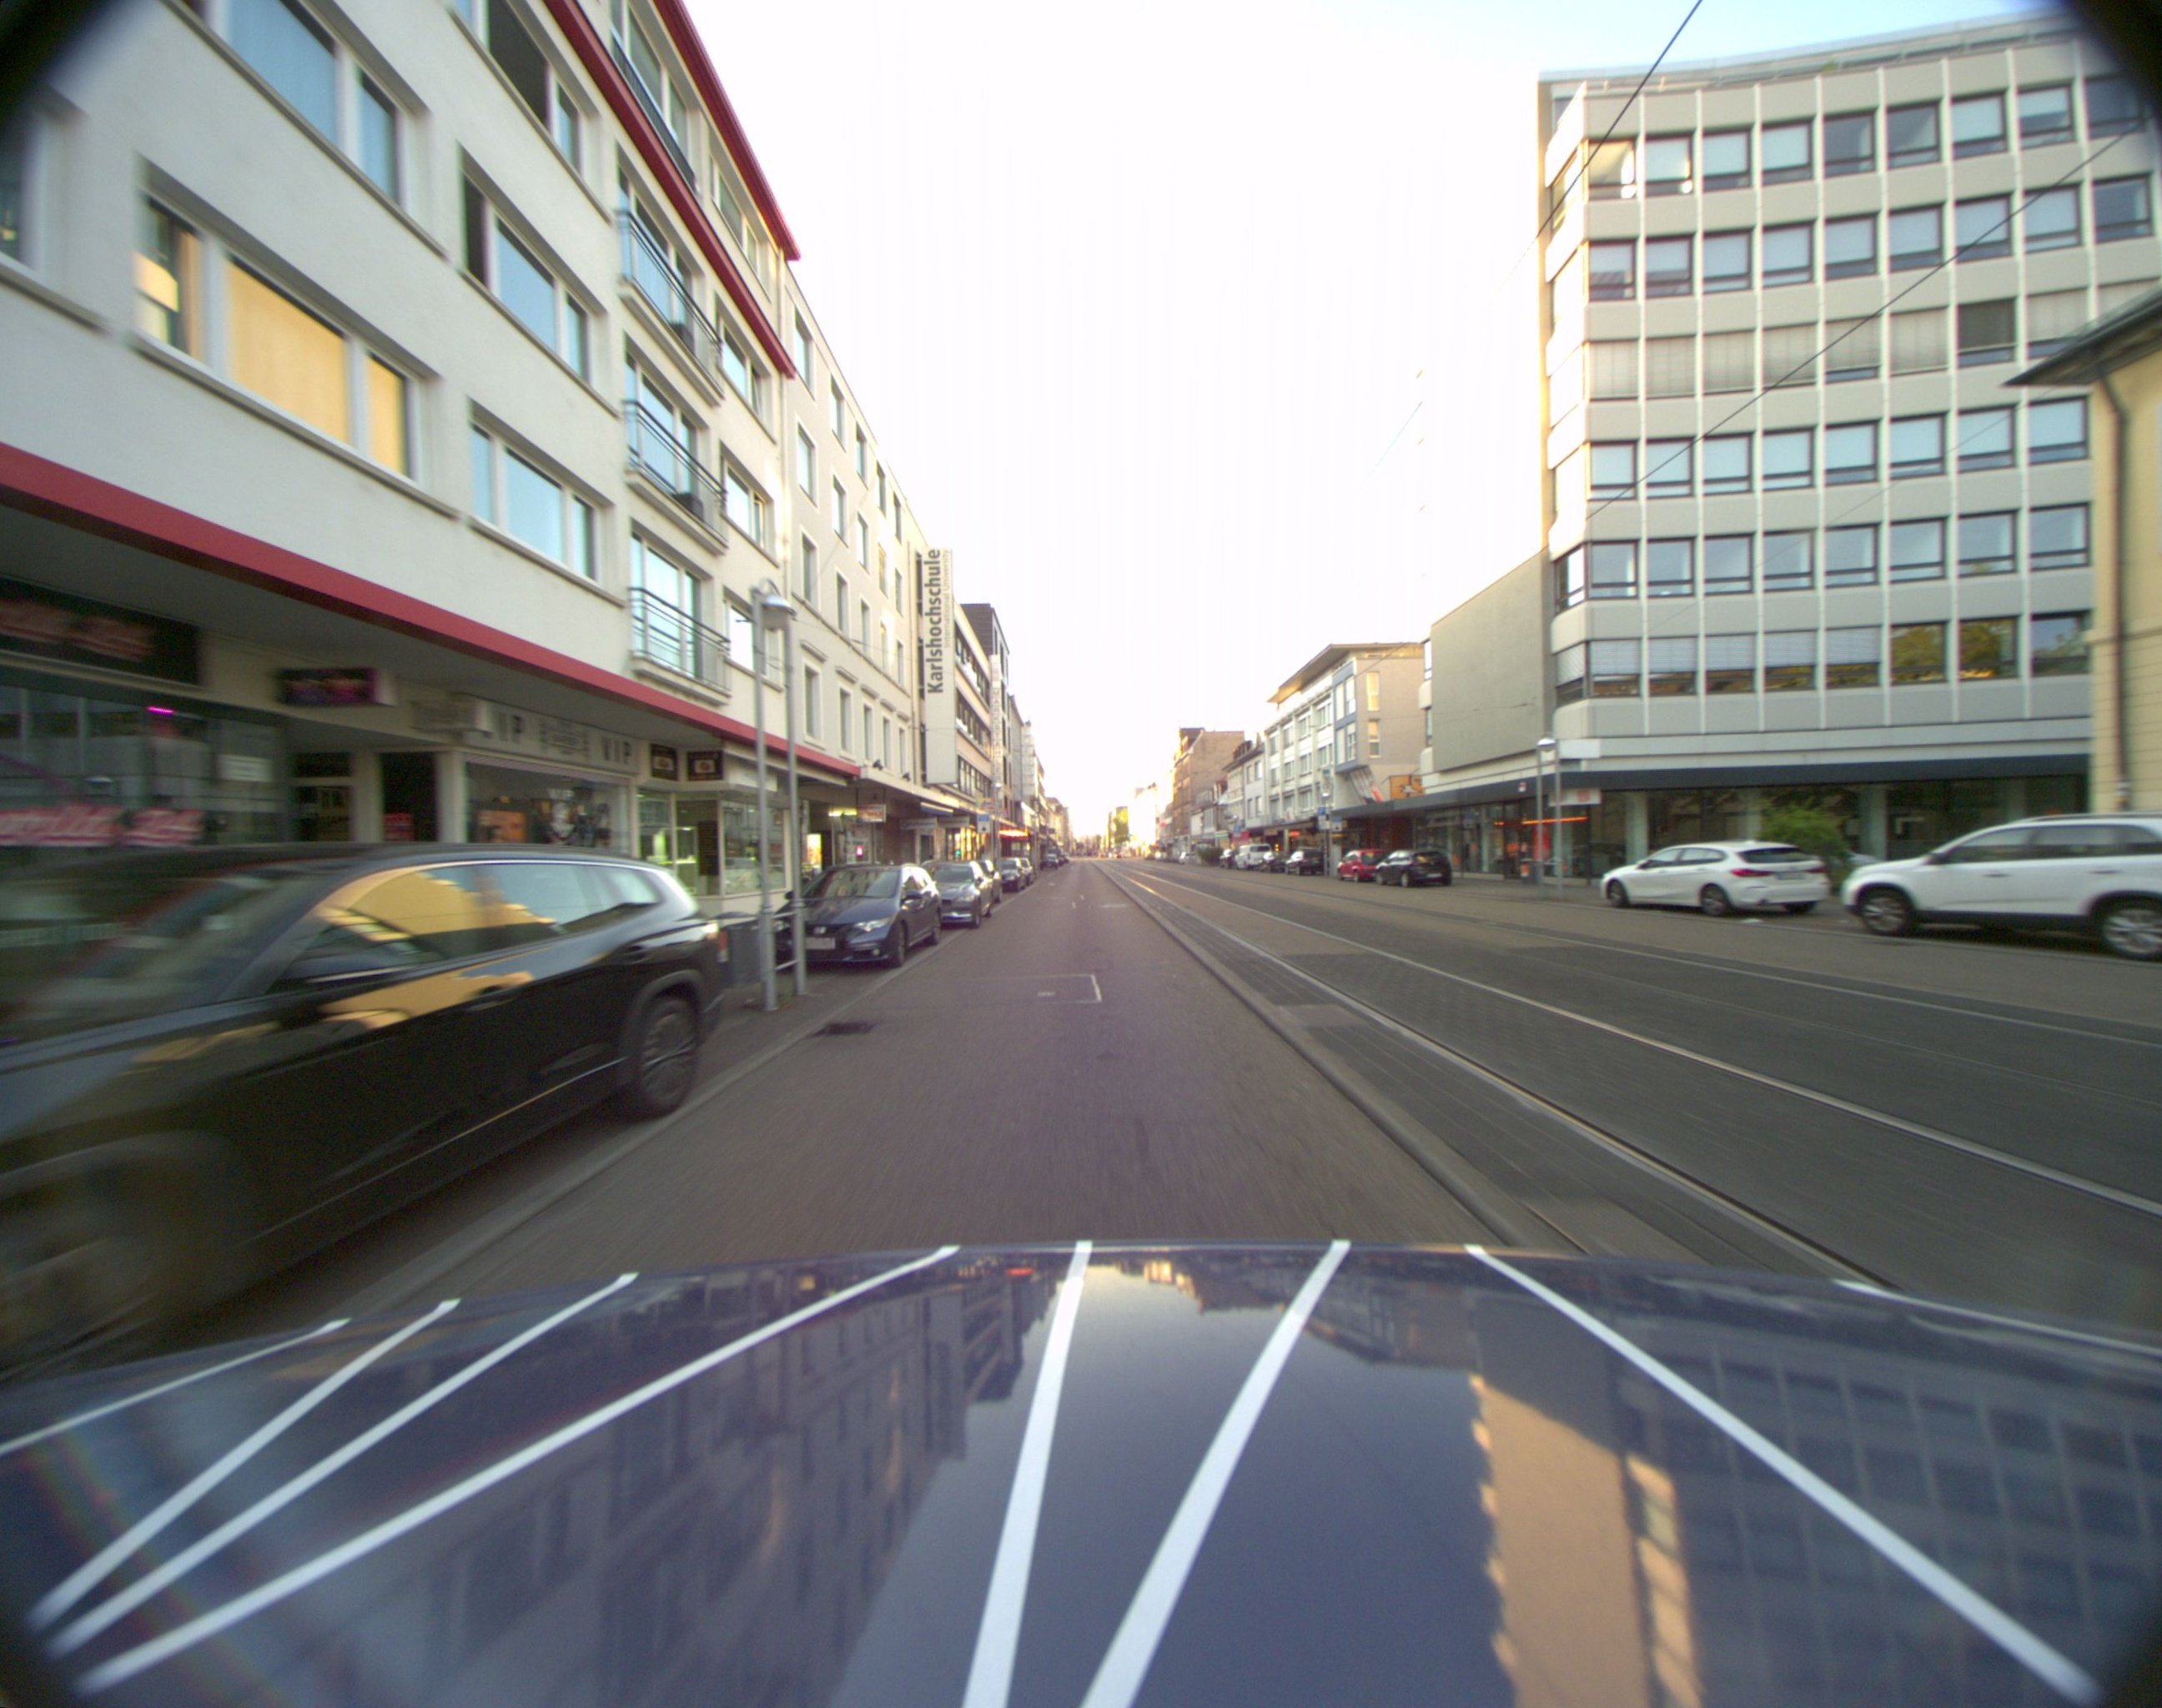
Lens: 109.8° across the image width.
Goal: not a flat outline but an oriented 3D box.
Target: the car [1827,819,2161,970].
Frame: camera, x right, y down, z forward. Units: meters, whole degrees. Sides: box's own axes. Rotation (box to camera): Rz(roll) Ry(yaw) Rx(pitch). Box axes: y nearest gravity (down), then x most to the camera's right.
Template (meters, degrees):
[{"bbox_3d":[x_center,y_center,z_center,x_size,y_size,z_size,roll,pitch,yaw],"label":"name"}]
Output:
[{"bbox_3d":[13.024,0.419,9.854,1.891,1.651,4.760,-3,0,-2],"label":"car"}]

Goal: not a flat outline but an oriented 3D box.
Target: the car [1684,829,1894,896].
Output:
[{"bbox_3d":[19.247,0.210,20.787,3.998,1.544,1.913,-3,1,-2],"label":"car"}]

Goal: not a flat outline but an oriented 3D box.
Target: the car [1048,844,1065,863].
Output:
[{"bbox_3d":[-3.217,-0.092,100.311,2.080,2.434,5.603,-3,1,-1],"label":"car"}]

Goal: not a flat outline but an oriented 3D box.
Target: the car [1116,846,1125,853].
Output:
[{"bbox_3d":[10.123,-1.142,197.114,1.999,1.554,3.999,-3,1,-1],"label":"car"}]

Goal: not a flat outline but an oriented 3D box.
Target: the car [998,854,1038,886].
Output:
[{"bbox_3d":[-3.292,0.801,40.299,1.658,1.454,4.022,-3,1,0],"label":"car"}]

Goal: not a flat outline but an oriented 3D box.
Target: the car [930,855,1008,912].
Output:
[{"bbox_3d":[-3.373,0.832,23.575,1.730,1.473,3.999,-3,1,0],"label":"car"}]

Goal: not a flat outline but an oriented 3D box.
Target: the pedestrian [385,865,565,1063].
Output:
[{"bbox_3d":[-5.195,0.892,6.586,0.735,1.564,0.966,-1,1,0],"label":"pedestrian"}]

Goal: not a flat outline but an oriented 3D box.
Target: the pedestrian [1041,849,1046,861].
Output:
[{"bbox_3d":[-5.607,0.173,114.834,0.743,1.746,0.789,1,1,-3],"label":"pedestrian"}]

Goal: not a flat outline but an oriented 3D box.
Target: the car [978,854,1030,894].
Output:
[{"bbox_3d":[-3.306,0.814,33.341,1.769,1.505,4.071,-3,1,0],"label":"car"}]

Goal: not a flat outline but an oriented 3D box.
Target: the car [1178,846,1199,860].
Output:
[{"bbox_3d":[13.200,-0.102,93.510,1.896,1.547,4.622,-3,1,0],"label":"car"}]

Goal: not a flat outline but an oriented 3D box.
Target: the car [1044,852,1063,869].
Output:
[{"bbox_3d":[-2.810,0.651,78.041,1.744,1.532,3.965,-1,1,0],"label":"car"}]

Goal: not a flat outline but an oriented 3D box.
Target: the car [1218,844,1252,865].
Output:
[{"bbox_3d":[13.469,-0.020,66.644,1.998,1.687,4.587,-3,1,0],"label":"car"}]

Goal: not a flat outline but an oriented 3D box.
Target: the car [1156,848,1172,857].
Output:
[{"bbox_3d":[13.742,-0.249,126.271,1.999,1.412,4.402,-3,1,-2],"label":"car"}]

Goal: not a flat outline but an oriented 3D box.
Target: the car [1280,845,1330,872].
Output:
[{"bbox_3d":[13.097,0.242,44.646,1.794,1.452,4.091,-1,0,1],"label":"car"}]

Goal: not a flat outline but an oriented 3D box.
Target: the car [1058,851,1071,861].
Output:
[{"bbox_3d":[-2.816,0.314,129.771,1.999,1.663,3.875,-3,1,-1],"label":"car"}]

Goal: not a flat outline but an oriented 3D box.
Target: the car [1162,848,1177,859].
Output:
[{"bbox_3d":[13.288,-0.036,114.230,1.846,1.484,3.815,-3,1,0],"label":"car"}]

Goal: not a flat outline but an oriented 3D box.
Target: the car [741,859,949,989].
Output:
[{"bbox_3d":[-3.386,0.909,11.868,1.785,1.513,4.356,-3,0,0],"label":"car"}]

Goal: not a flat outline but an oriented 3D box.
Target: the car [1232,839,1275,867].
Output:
[{"bbox_3d":[13.296,-0.112,58.874,1.969,2.002,5.098,-3,1,-1],"label":"car"}]

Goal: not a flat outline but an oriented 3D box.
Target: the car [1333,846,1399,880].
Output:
[{"bbox_3d":[13.067,0.398,35.032,1.696,1.426,3.592,-2,0,0],"label":"car"}]

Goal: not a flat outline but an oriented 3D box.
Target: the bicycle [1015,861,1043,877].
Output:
[{"bbox_3d":[-3.393,0.987,49.616,1.799,0.967,0.575,1,1,-3],"label":"bicycle"}]

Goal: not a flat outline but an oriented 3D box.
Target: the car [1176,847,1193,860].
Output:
[{"bbox_3d":[13.421,-0.088,98.821,1.660,1.562,3.470,-3,1,1],"label":"car"}]

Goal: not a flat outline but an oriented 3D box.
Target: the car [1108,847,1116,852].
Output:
[{"bbox_3d":[9.709,-1.480,238.764,1.999,1.434,3.999,-3,1,-1],"label":"car"}]

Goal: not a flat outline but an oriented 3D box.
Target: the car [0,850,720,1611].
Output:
[{"bbox_3d":[-3.419,0.899,2.924,1.860,1.691,4.417,-3,1,0],"label":"car"}]

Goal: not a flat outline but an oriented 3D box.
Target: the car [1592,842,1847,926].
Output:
[{"bbox_3d":[13.167,0.542,16.085,1.725,1.444,4.283,-3,0,0],"label":"car"}]

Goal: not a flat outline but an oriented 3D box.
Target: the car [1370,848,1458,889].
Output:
[{"bbox_3d":[13.034,0.514,30.017,1.696,1.417,3.965,-3,0,0],"label":"car"}]

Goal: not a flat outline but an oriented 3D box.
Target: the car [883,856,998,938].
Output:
[{"bbox_3d":[-3.143,0.887,17.966,1.796,1.524,4.855,-3,1,-1],"label":"car"}]

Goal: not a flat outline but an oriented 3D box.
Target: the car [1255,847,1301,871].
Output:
[{"bbox_3d":[13.284,0.280,51.404,1.877,1.418,4.570,-3,1,0],"label":"car"}]

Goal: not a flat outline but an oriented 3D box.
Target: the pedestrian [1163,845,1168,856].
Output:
[{"bbox_3d":[16.115,-0.613,144.860,0.748,2.002,1.049,-3,2,5],"label":"pedestrian"}]
